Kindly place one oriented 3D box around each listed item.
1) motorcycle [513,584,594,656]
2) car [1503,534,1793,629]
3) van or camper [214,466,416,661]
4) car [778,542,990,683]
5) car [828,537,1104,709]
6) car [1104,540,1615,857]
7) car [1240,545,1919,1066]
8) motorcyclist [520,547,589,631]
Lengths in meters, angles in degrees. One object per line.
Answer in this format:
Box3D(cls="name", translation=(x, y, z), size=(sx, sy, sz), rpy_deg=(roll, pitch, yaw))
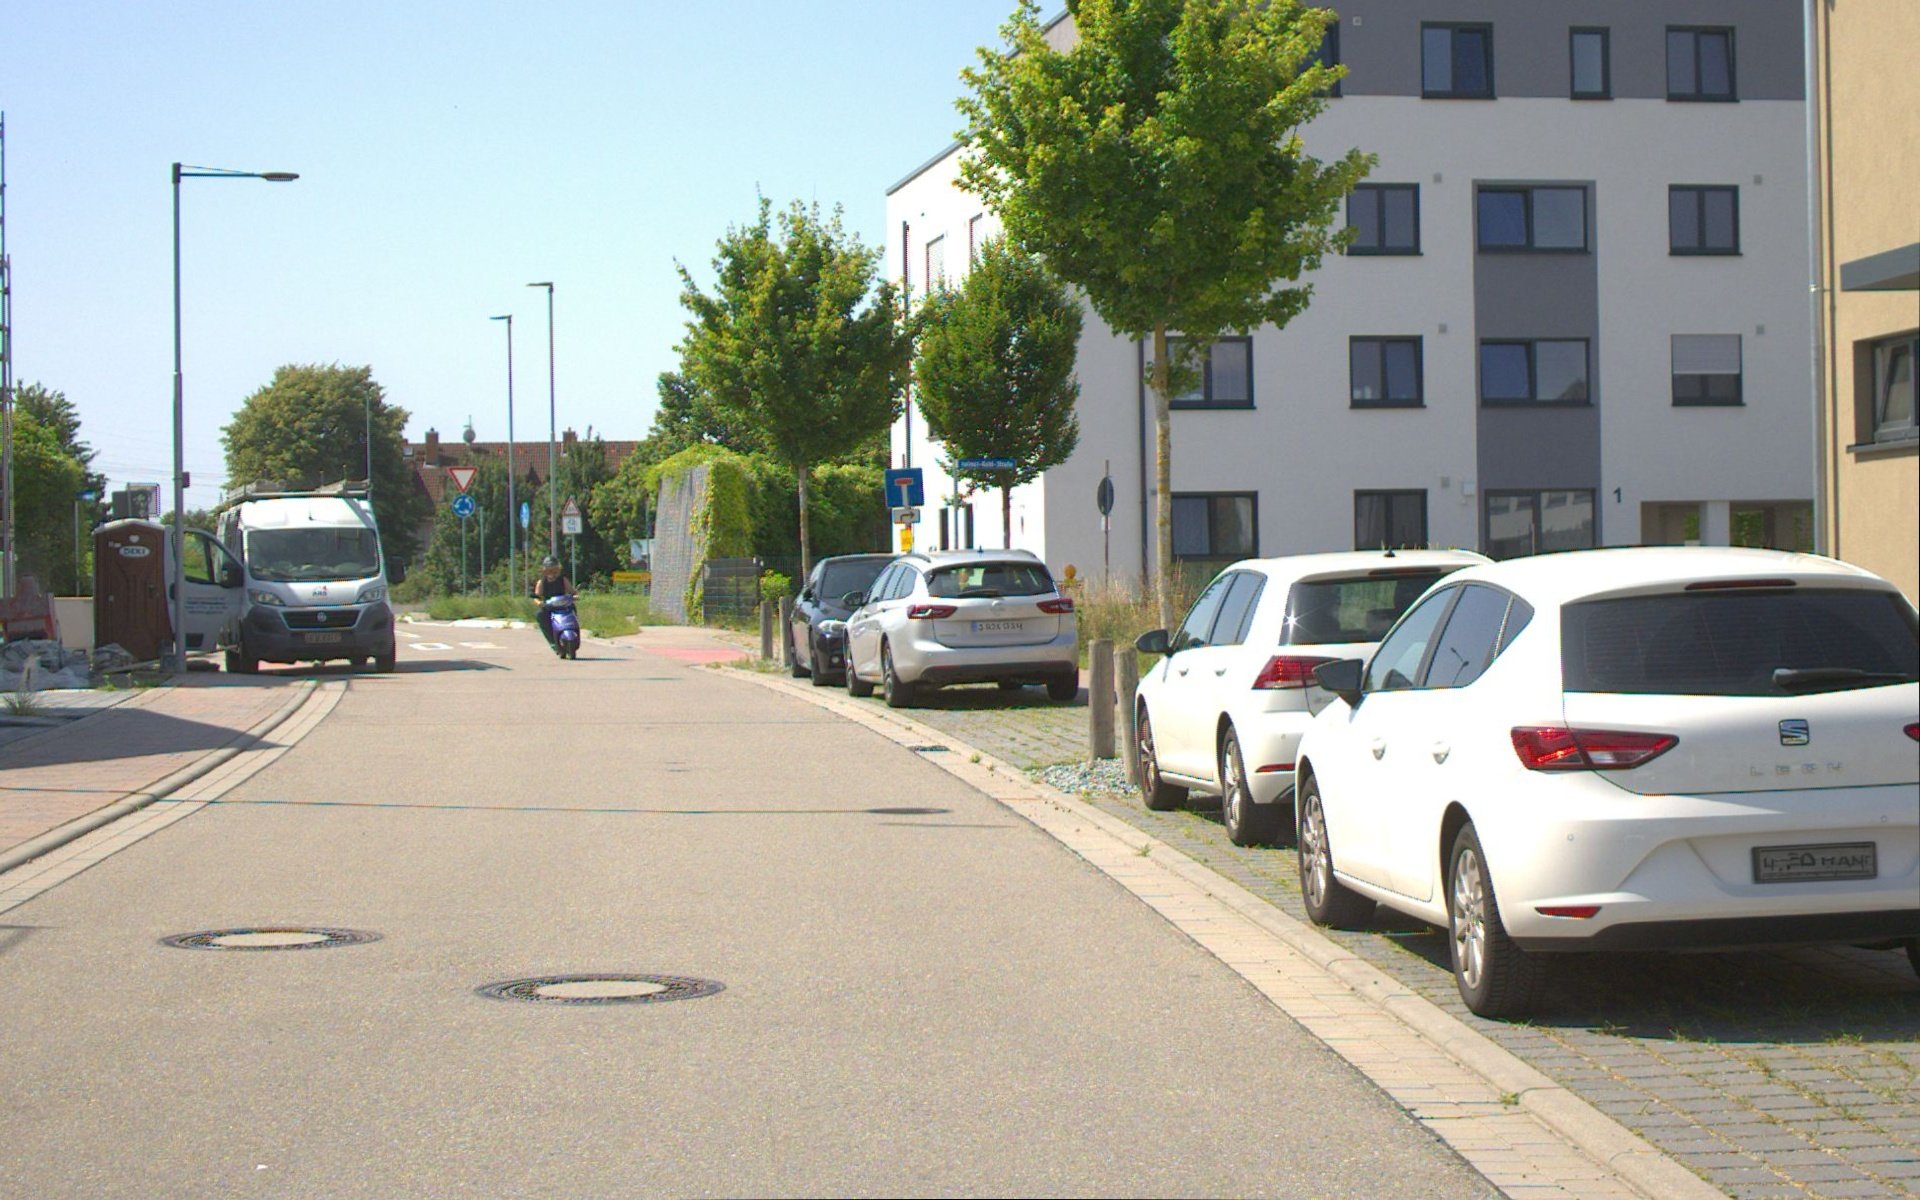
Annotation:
Box3D(cls="motorcycle", translation=(-6.190, 0.296, 52.230), size=(0.955, 1.031, 2.437), rpy_deg=(-1, 1, -13))
Box3D(cls="car", translation=(11.078, -0.290, 55.458), size=(4.157, 1.431, 1.883), rpy_deg=(-1, 0, -11))
Box3D(cls="van or camper", translation=(-9.194, -0.480, 48.591), size=(2.272, 2.544, 6.369), rpy_deg=(-1, 0, -15))
Box3D(cls="car", translation=(-0.973, 0.093, 40.582), size=(1.918, 1.464, 5.141), rpy_deg=(-2, 2, -7))
Box3D(cls="car", translation=(-0.040, 0.161, 34.583), size=(1.918, 1.506, 5.296), rpy_deg=(-2, 2, -9))
Box3D(cls="car", translation=(2.017, 0.429, 18.718), size=(1.779, 1.421, 4.515), rpy_deg=(-2, 2, -6))
Box3D(cls="car", translation=(2.291, 0.567, 12.348), size=(1.814, 1.451, 4.565), rpy_deg=(-2, 1, -4))
Box3D(cls="motorcyclist", translation=(-6.133, -0.172, 51.971), size=(0.924, 1.218, 0.804), rpy_deg=(-1, 1, -13))
